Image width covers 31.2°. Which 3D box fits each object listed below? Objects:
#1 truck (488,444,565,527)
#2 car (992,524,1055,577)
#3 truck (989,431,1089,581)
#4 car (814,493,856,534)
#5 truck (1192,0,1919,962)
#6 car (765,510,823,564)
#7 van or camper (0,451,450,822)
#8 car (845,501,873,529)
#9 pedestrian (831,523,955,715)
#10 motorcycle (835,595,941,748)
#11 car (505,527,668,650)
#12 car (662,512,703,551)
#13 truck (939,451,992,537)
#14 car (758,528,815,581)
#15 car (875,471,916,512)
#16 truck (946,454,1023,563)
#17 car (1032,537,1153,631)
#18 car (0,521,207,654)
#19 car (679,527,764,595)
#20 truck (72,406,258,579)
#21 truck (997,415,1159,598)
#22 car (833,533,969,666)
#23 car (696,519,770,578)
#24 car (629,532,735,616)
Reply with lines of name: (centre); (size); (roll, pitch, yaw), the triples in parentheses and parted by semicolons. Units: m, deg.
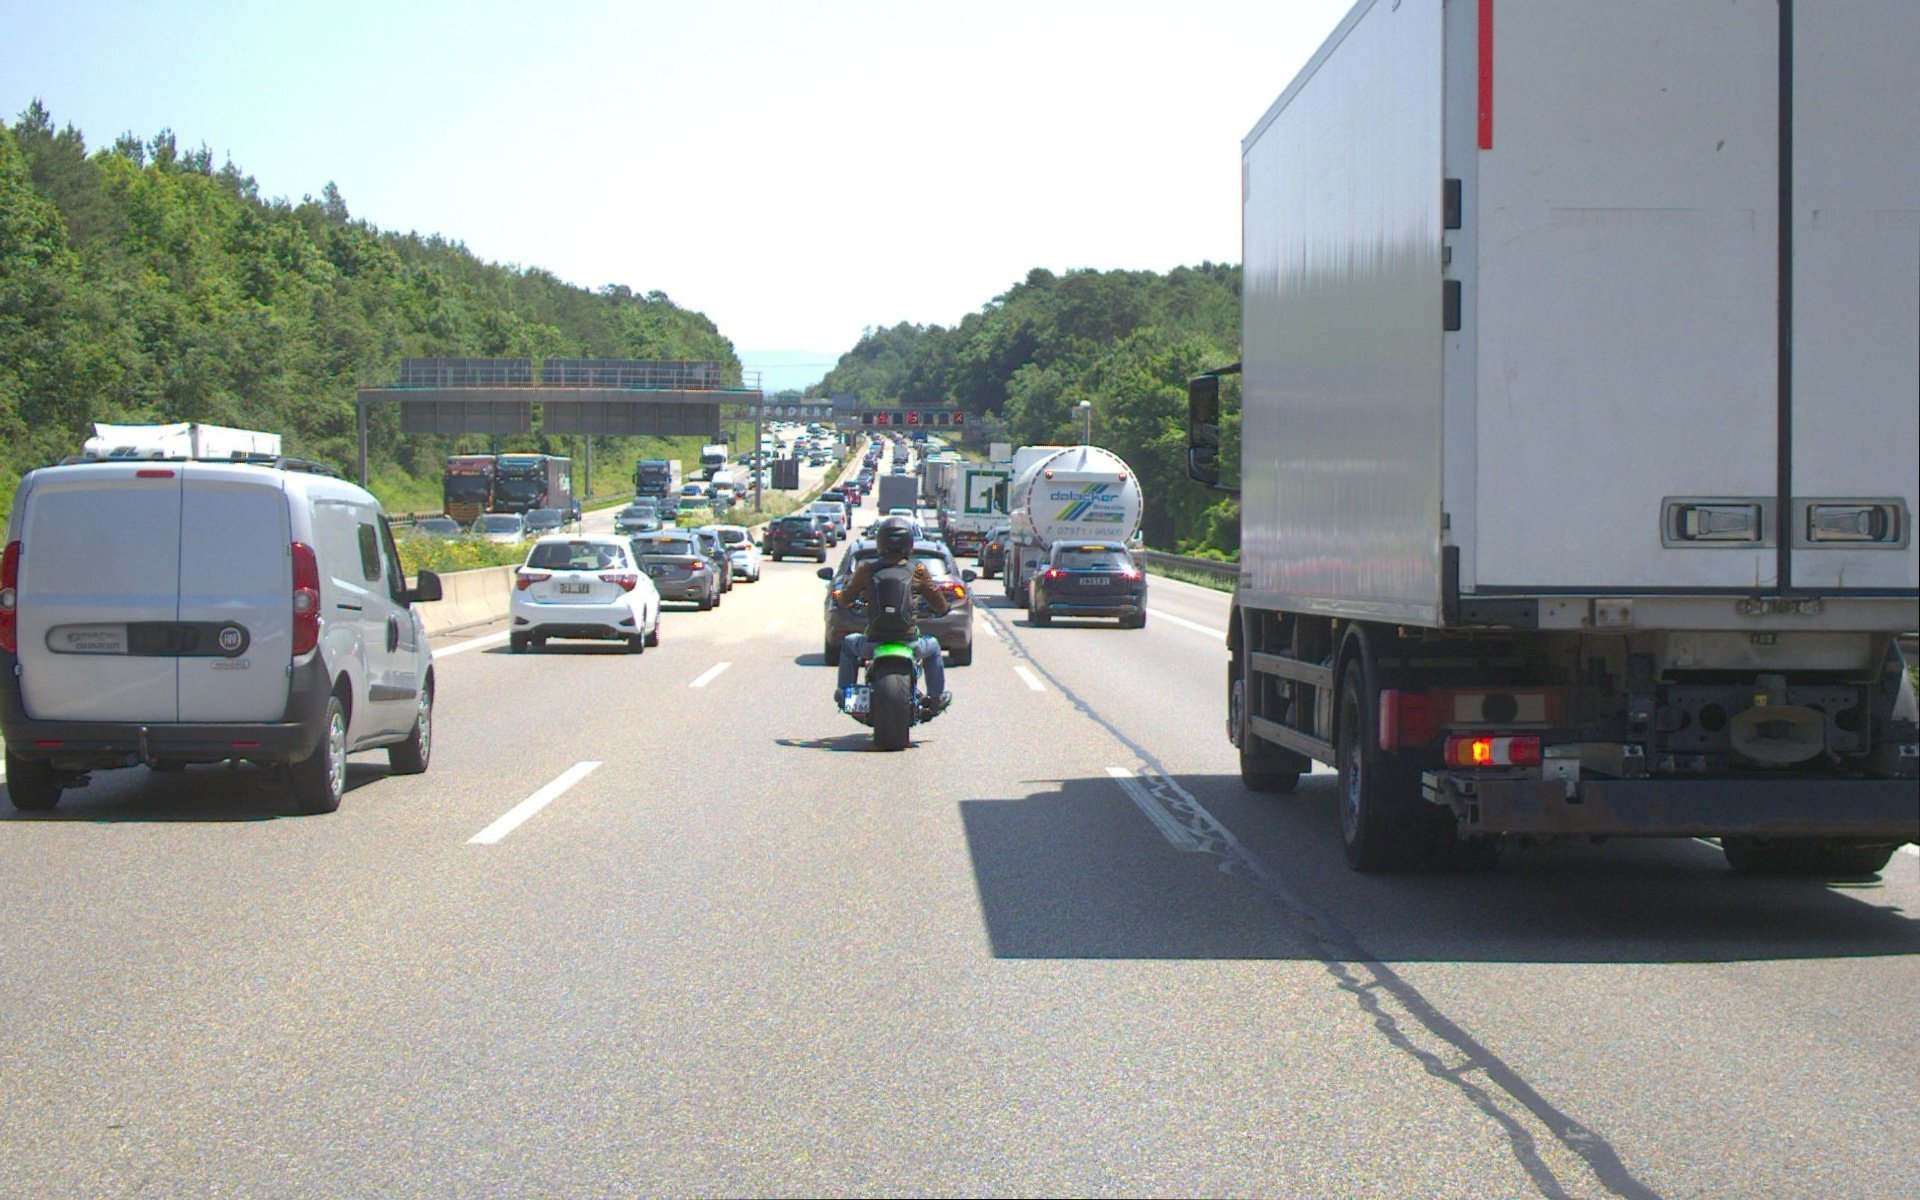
truck: (-21.678, -5.684, 172.072); (2.906, 3.960, 7.770); (-1, 1, -1)
car: (1.929, -1.530, 105.042); (1.787, 1.550, 3.804); (1, 2, -1)
truck: (1.893, -2.263, 83.908); (1.993, 3.510, 4.752); (-1, 1, -3)
car: (-6.310, -4.353, 173.749); (1.929, 2.007, 4.000); (-1, 1, 0)
truck: (2.987, -0.742, 17.482); (2.688, 3.863, 9.781); (-2, 1, -1)
car: (-5.845, -2.241, 121.532); (1.880, 1.853, 4.000); (1, 1, -1)
van or camper: (-4.178, 0.163, 19.800); (1.796, 1.886, 4.160); (1, 1, 0)
car: (-7.426, -6.234, 253.231); (1.993, 2.007, 4.000); (1, 1, -1)
pedestrian: (-0.477, 0.125, 25.003); (0.849, 1.357, 0.961); (-1, 1, 0)
motorcycle: (-0.510, 0.502, 25.159); (0.691, 1.012, 2.121); (1, 1, 0)
car: (-4.769, -0.181, 44.333); (1.699, 1.473, 4.000); (1, 2, -1)
car: (-15.264, -3.764, 189.273); (1.879, 2.007, 4.469); (-2, 1, 0)
truck: (0.306, -6.590, 213.861); (3.033, 5.121, 9.983); (2, 1, -1)
car: (-6.841, -1.799, 135.866); (1.993, 2.007, 4.000); (-1, 1, 0)
car: (-4.053, -6.838, 216.946); (2.504, 2.578, 5.017); (1, 2, -1)
truck: (1.005, -4.032, 150.655); (3.033, 4.526, 9.983); (2, 1, -1)
car: (2.227, -0.297, 58.780); (1.828, 1.465, 4.000); (1, 1, -1)
car: (-12.731, -0.203, 51.303); (1.912, 1.841, 5.036); (-1, 1, -1)
car: (-5.426, -0.912, 78.535); (1.699, 1.473, 4.000); (1, 2, -1)
truck: (-20.023, -2.639, 87.030); (2.803, 4.151, 7.600); (-1, 1, 1)
truck: (2.462, -1.956, 74.820); (2.988, 3.659, 9.288); (-1, 1, -1)
car: (-0.733, -0.048, 41.767); (1.532, 1.504, 4.000); (-1, 1, -1)
car: (-5.936, -1.363, 90.203); (1.699, 1.473, 4.000); (1, 2, -1)
car: (-5.161, -0.506, 64.214); (1.699, 1.473, 4.000); (1, 2, -1)
